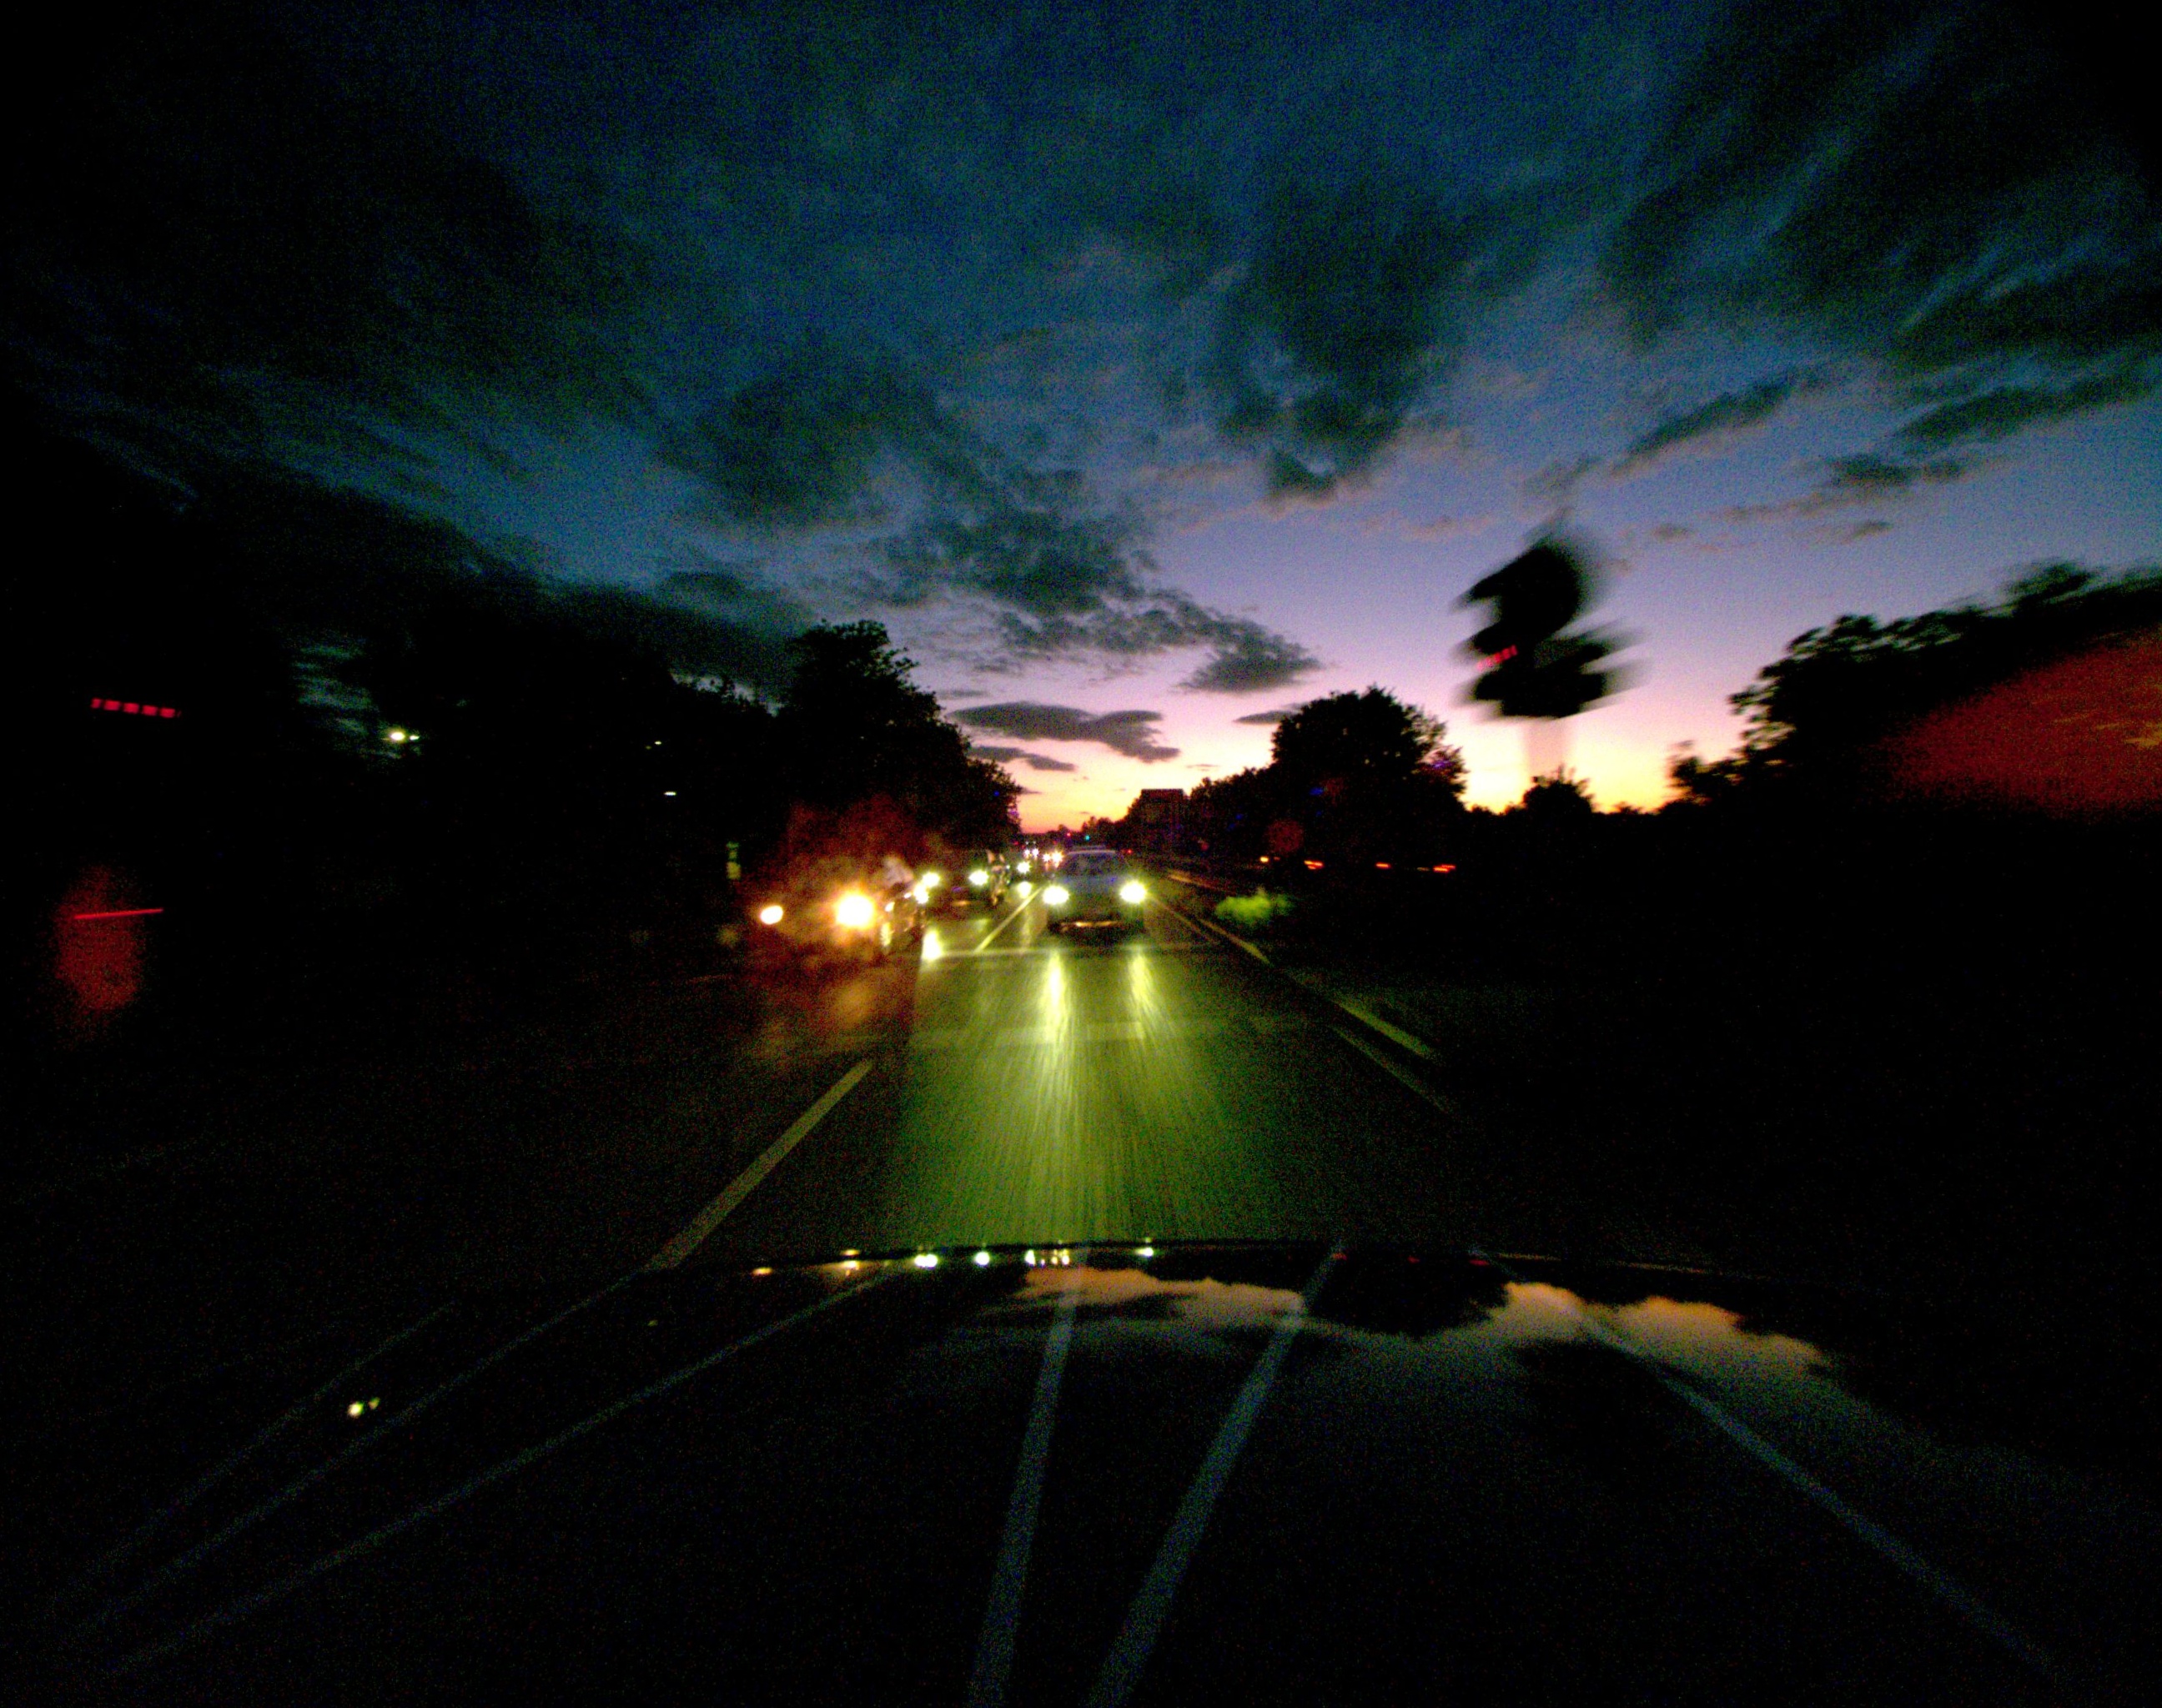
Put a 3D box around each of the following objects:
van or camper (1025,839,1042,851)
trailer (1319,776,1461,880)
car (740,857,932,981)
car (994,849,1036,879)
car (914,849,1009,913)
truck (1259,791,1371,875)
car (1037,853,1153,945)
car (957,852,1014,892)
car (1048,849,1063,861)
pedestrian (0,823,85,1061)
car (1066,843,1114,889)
[{"bbox_3d":[-12.478,-2.434,201.930,3.949,3.107,9.940,0,1,0],"label":"van or camper"},{"bbox_3d":[13.012,-1.016,33.062,2.583,3.920,8.876,0,1,0],"label":"trailer"},{"bbox_3d":[-3.537,0.849,11.692,1.663,1.528,3.715,-2,0,1],"label":"car"},{"bbox_3d":[-3.427,0.501,40.128,1.819,1.360,3.999,-3,1,0],"label":"car"},{"bbox_3d":[-3.305,0.708,21.881,1.902,1.548,4.300,-3,0,1],"label":"car"},{"bbox_3d":[12.837,-1.132,42.848,2.733,4.094,10.341,-1,1,-2],"label":"truck"},{"bbox_3d":[0.261,0.736,14.741,1.819,1.428,4.646,-3,0,1],"label":"car"},{"bbox_3d":[-3.610,0.641,29.323,1.621,1.405,3.755,-2,0,1],"label":"car"},{"bbox_3d":[-2.852,0.089,86.071,1.606,1.291,3.551,-3,1,-2],"label":"car"},{"bbox_3d":[-9.462,0.755,6.568,0.782,2.002,0.712,-4,2,-38],"label":"pedestrian"},{"bbox_3d":[0.375,0.468,31.113,1.760,1.692,4.249,-2,0,1],"label":"car"}]
